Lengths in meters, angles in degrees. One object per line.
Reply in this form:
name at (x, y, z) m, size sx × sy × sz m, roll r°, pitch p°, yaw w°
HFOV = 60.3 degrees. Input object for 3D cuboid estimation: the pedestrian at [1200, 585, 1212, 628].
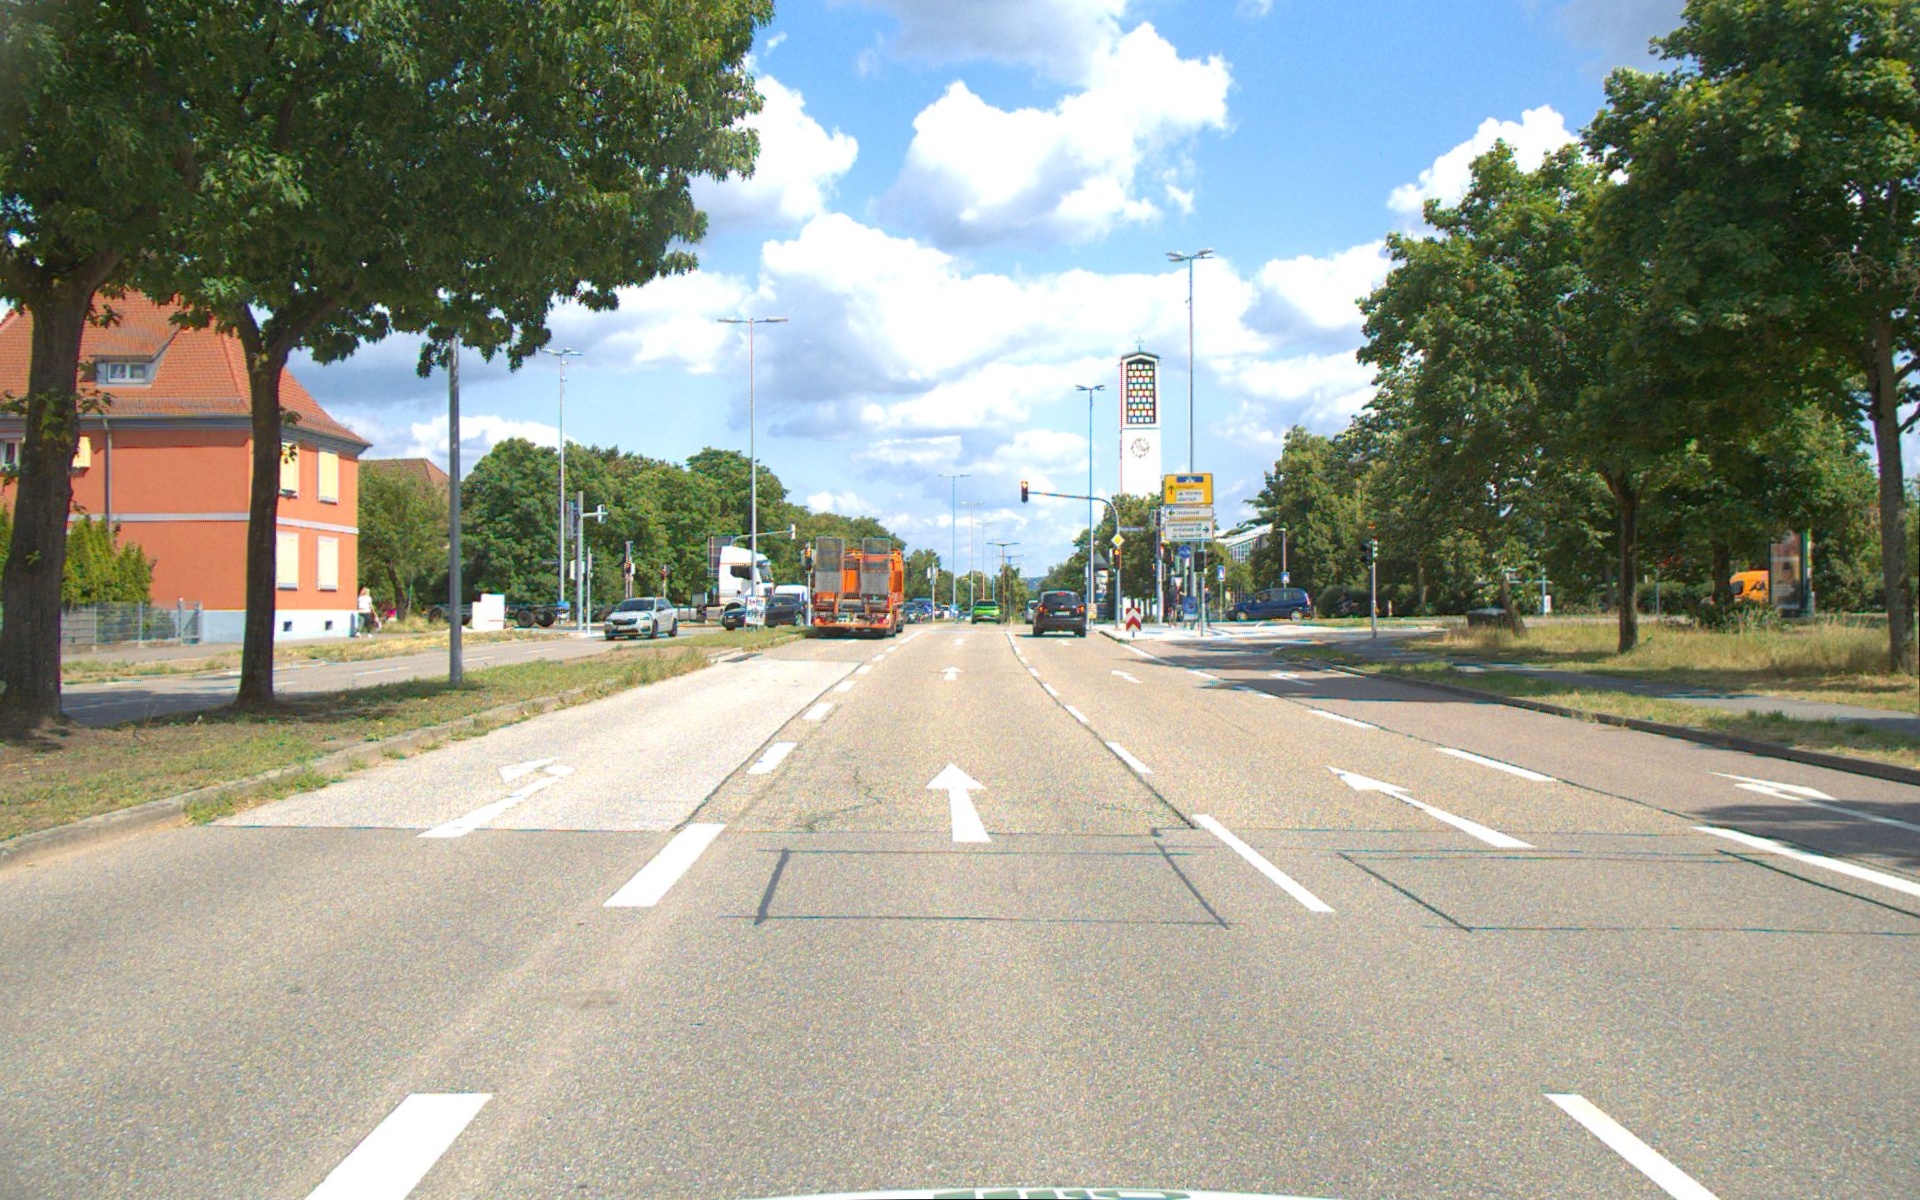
pedestrian at (10.429, 0.294, 70.187) m, size 0.454 × 1.810 × 0.482 m, roll 1°, pitch -1°, yaw 11°

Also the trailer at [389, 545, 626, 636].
trailer at (-23.120, -0.458, 84.799) m, size 11.043 × 4.082 × 3.635 m, roll -3°, pitch -1°, yaw 6°

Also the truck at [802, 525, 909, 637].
truck at (-3.489, -0.508, 58.112) m, size 3.008 × 3.474 × 11.066 m, roll 2°, pitch -1°, yaw 0°

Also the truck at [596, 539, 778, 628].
truck at (-13.800, -0.797, 83.768) m, size 8.426 × 4.040 × 2.971 m, roll -3°, pitch -1°, yaw 9°

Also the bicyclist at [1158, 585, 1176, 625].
bicyclist at (8.866, 0.226, 70.793) m, size 0.634 × 1.690 × 0.650 m, roll 1°, pitch -1°, yaw 16°

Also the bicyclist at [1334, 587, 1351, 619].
bicyclist at (22.295, 0.195, 96.520) m, size 0.773 × 1.836 × 0.683 m, roll -1°, pitch -1°, yaw 35°

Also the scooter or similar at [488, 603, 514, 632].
scooter or similar at (-19.306, 0.734, 69.559) m, size 0.577 × 1.184 × 1.761 m, roll 2°, pitch -1°, yaw -1°

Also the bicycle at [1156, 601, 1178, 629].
bicycle at (8.905, 0.649, 70.974) m, size 0.634 × 1.127 × 1.929 m, roll 1°, pitch -1°, yaw 15°

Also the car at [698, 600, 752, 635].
car at (-10.292, 0.756, 72.691) m, size 1.735 × 1.463 × 4.575 m, roll -1°, pitch -1°, yaw 0°

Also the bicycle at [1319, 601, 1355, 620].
bicycle at (22.038, 0.605, 96.684) m, size 1.962 × 1.113 × 0.683 m, roll 0°, pitch -1°, yaw 35°

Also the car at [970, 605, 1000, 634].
car at (1.530, 1.206, 101.408) m, size 1.705 × 1.698 × 3.590 m, roll 2°, pitch -1°, yaw 0°

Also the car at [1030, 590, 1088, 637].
car at (3.494, 0.497, 58.659) m, size 1.763 × 1.579 × 3.999 m, roll 2°, pitch -1°, yaw 0°

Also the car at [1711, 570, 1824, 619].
car at (40.177, -0.283, 82.438) m, size 4.743 × 2.265 × 2.212 m, roll 1°, pitch -1°, yaw 18°

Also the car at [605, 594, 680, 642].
car at (-11.275, 0.661, 59.007) m, size 1.697 × 1.534 × 4.652 m, roll -3°, pitch -1°, yaw 0°

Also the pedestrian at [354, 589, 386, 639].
pedestrian at (-19.320, 0.459, 54.135) m, size 0.682 × 1.611 × 0.851 m, roll 2°, pitch -1°, yaw 0°

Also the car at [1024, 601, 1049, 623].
car at (5.634, 0.910, 122.649) m, size 1.624 × 1.582 × 3.999 m, roll 2°, pitch -1°, yaw 0°
